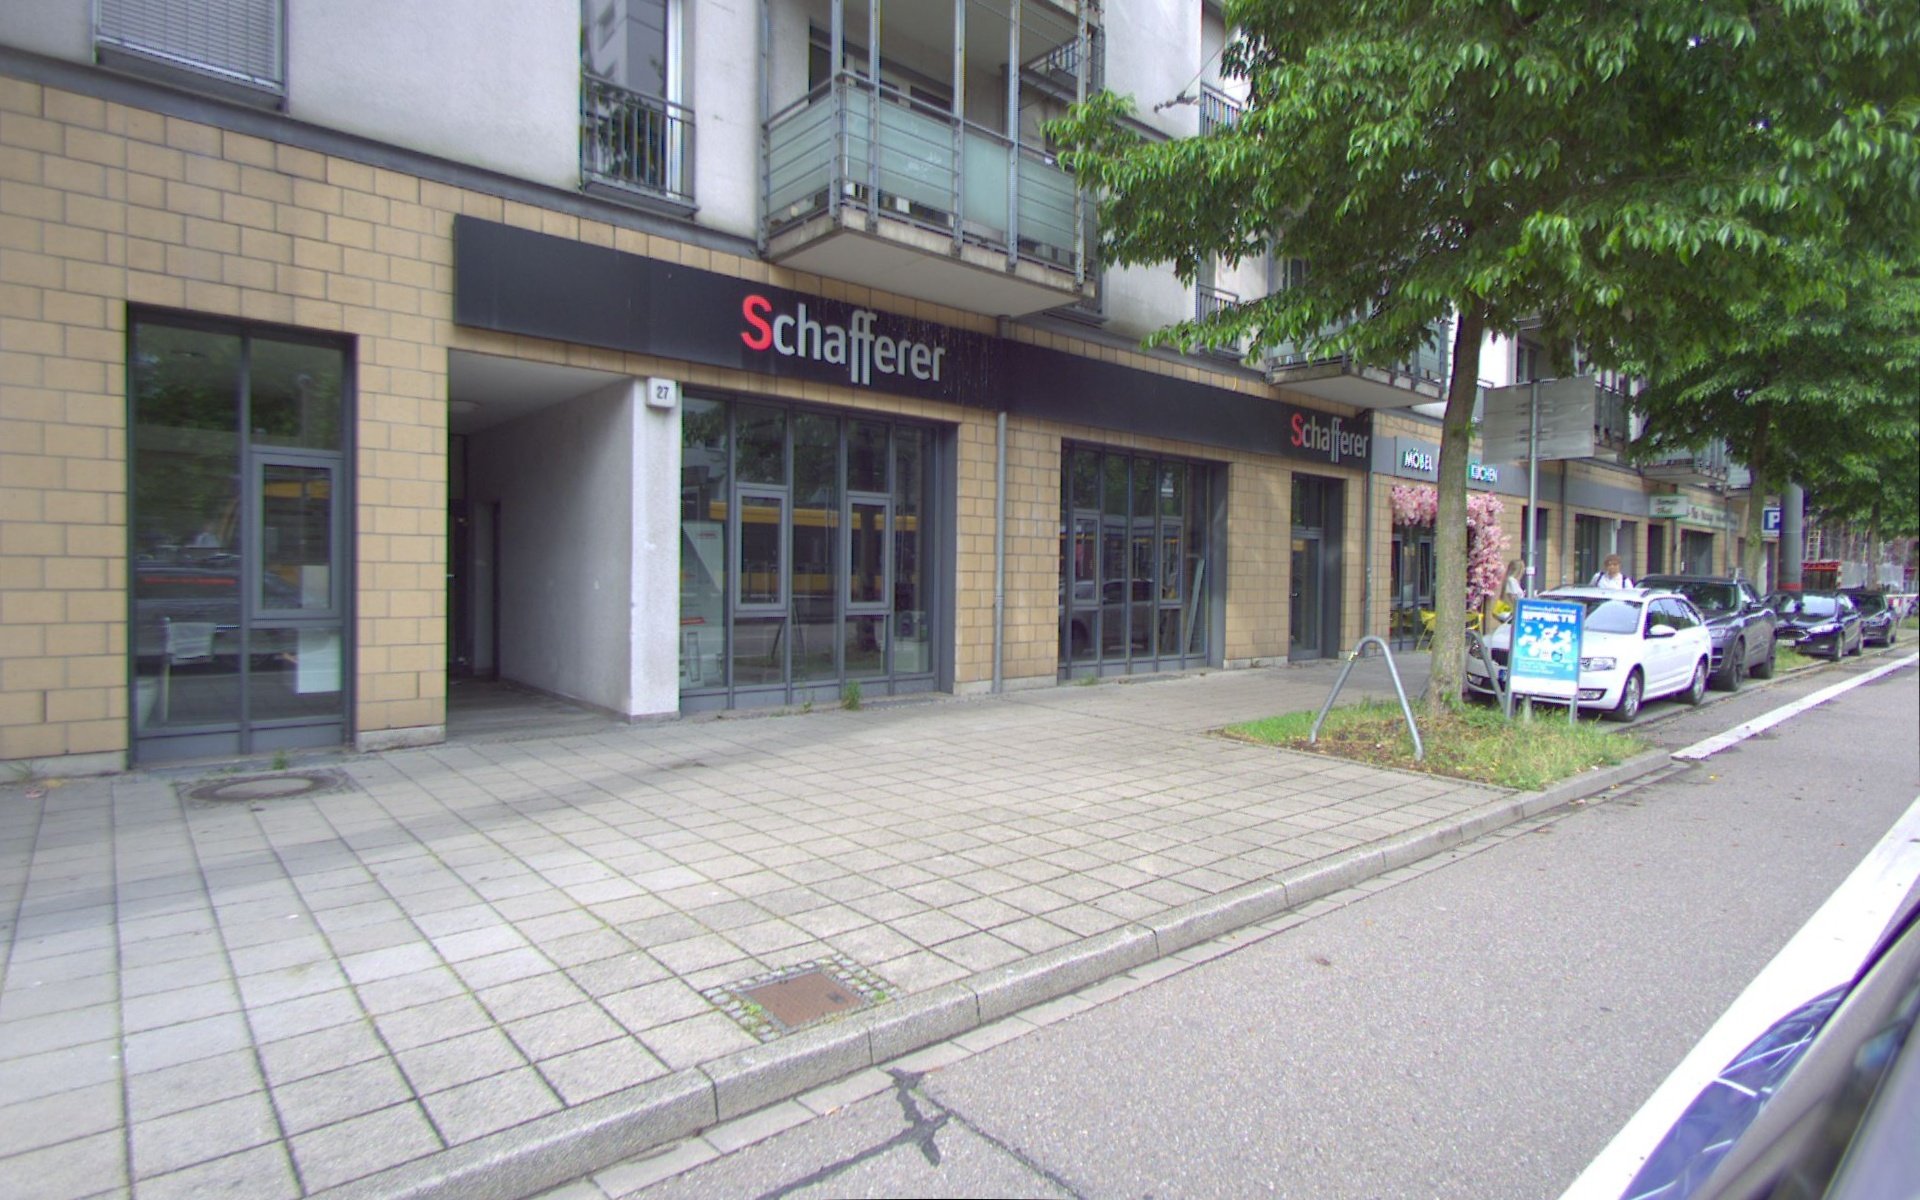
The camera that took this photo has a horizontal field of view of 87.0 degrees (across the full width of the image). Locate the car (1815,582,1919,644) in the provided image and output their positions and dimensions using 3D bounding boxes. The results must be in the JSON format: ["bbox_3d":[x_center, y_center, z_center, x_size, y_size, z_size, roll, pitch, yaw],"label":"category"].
[{"bbox_3d":[24.151,0.291,26.873,3.603,1.417,1.612,-1,5,-41],"label":"car"}]

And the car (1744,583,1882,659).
[{"bbox_3d":[18.630,0.390,22.047,4.095,1.394,1.612,-1,5,-41],"label":"car"}]

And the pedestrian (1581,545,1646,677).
[{"bbox_3d":[9.701,0.148,15.021,0.588,1.907,0.656,0,1,-41],"label":"pedestrian"}]

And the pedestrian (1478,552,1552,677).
[{"bbox_3d":[7.987,0.190,14.593,0.727,1.738,0.616,2,2,12],"label":"pedestrian"}]

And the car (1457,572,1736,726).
[{"bbox_3d":[8.117,0.478,12.757,4.233,1.539,1.738,-1,5,-41],"label":"car"}]

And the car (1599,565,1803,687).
[{"bbox_3d":[11.789,0.322,16.030,3.732,1.630,1.738,-1,5,-41],"label":"car"}]
